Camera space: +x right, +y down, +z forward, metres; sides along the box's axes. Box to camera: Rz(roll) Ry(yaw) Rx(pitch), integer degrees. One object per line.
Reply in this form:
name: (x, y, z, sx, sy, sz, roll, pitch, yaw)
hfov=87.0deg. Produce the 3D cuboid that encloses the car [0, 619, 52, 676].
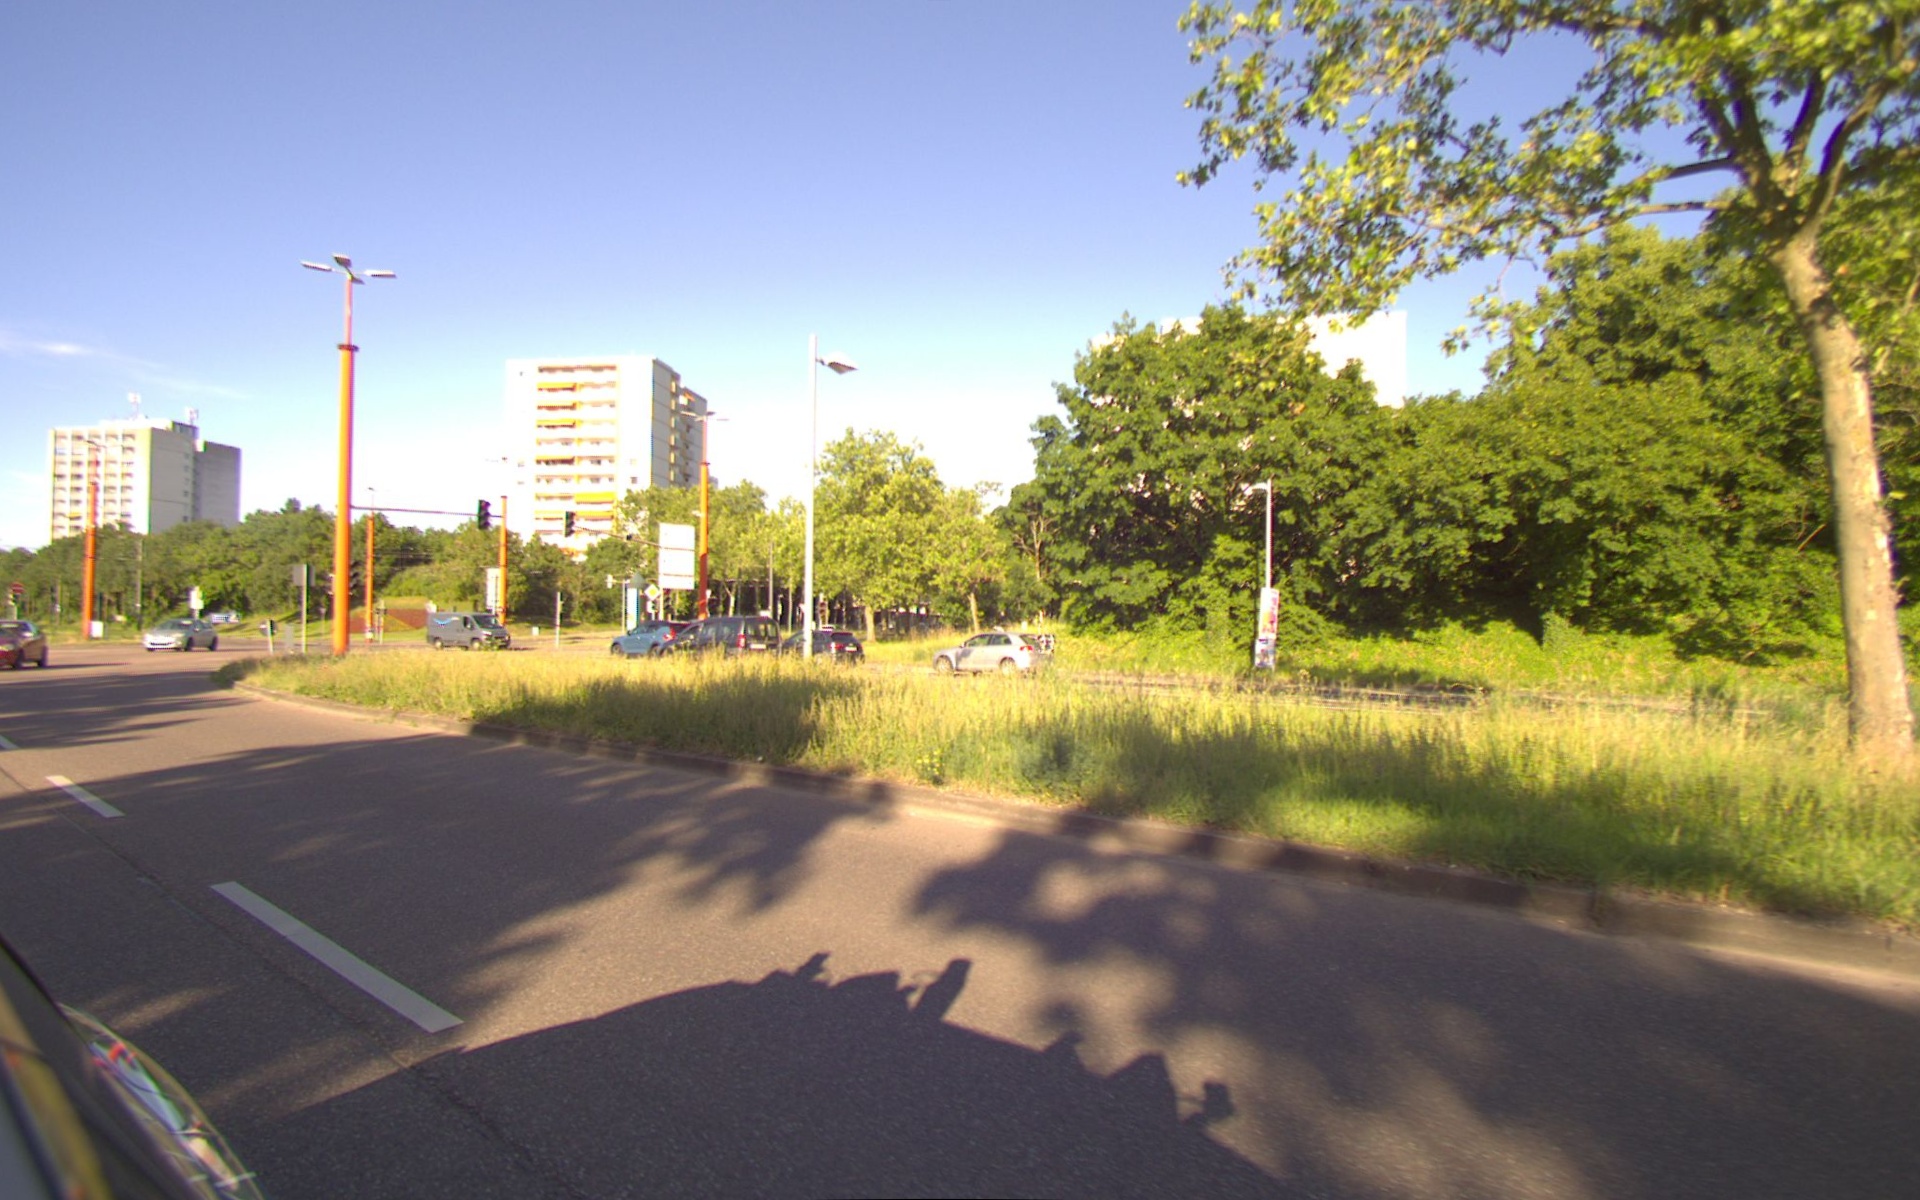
car: (-28.395, 1.381, 29.795, 1.743, 1.570, 4.739, 1, -2, -33)

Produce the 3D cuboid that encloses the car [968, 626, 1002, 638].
car: (3.210, 4.078, 130.619, 3.979, 1.510, 1.801, 0, -3, -26)

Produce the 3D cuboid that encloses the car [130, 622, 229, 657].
car: (-36.449, 1.835, 47.408, 1.883, 1.570, 4.738, 0, -2, -14)

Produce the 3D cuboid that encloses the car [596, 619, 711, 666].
car: (-11.275, 1.555, 37.113, 4.563, 1.623, 1.878, -1, -4, 41)

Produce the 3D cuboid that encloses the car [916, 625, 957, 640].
car: (-2.479, 3.451, 107.578, 3.979, 1.498, 1.820, 0, -3, -28)

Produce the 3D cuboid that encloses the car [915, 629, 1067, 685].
car: (0.914, 1.751, 31.608, 4.563, 1.623, 1.878, -1, -4, 41)

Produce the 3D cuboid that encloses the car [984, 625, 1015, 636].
car: (5.532, 4.308, 141.569, 3.980, 1.510, 1.801, 0, -3, -29)

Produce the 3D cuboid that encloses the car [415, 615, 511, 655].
car: (-28.750, 2.030, 58.548, 5.632, 2.221, 2.023, -1, -2, 27)

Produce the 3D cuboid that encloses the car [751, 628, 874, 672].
car: (-5.382, 1.783, 36.682, 4.563, 1.486, 1.878, -1, -4, 41)

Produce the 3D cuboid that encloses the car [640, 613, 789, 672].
car: (-7.176, 1.216, 29.326, 4.563, 1.577, 1.878, -1, -4, 41)
